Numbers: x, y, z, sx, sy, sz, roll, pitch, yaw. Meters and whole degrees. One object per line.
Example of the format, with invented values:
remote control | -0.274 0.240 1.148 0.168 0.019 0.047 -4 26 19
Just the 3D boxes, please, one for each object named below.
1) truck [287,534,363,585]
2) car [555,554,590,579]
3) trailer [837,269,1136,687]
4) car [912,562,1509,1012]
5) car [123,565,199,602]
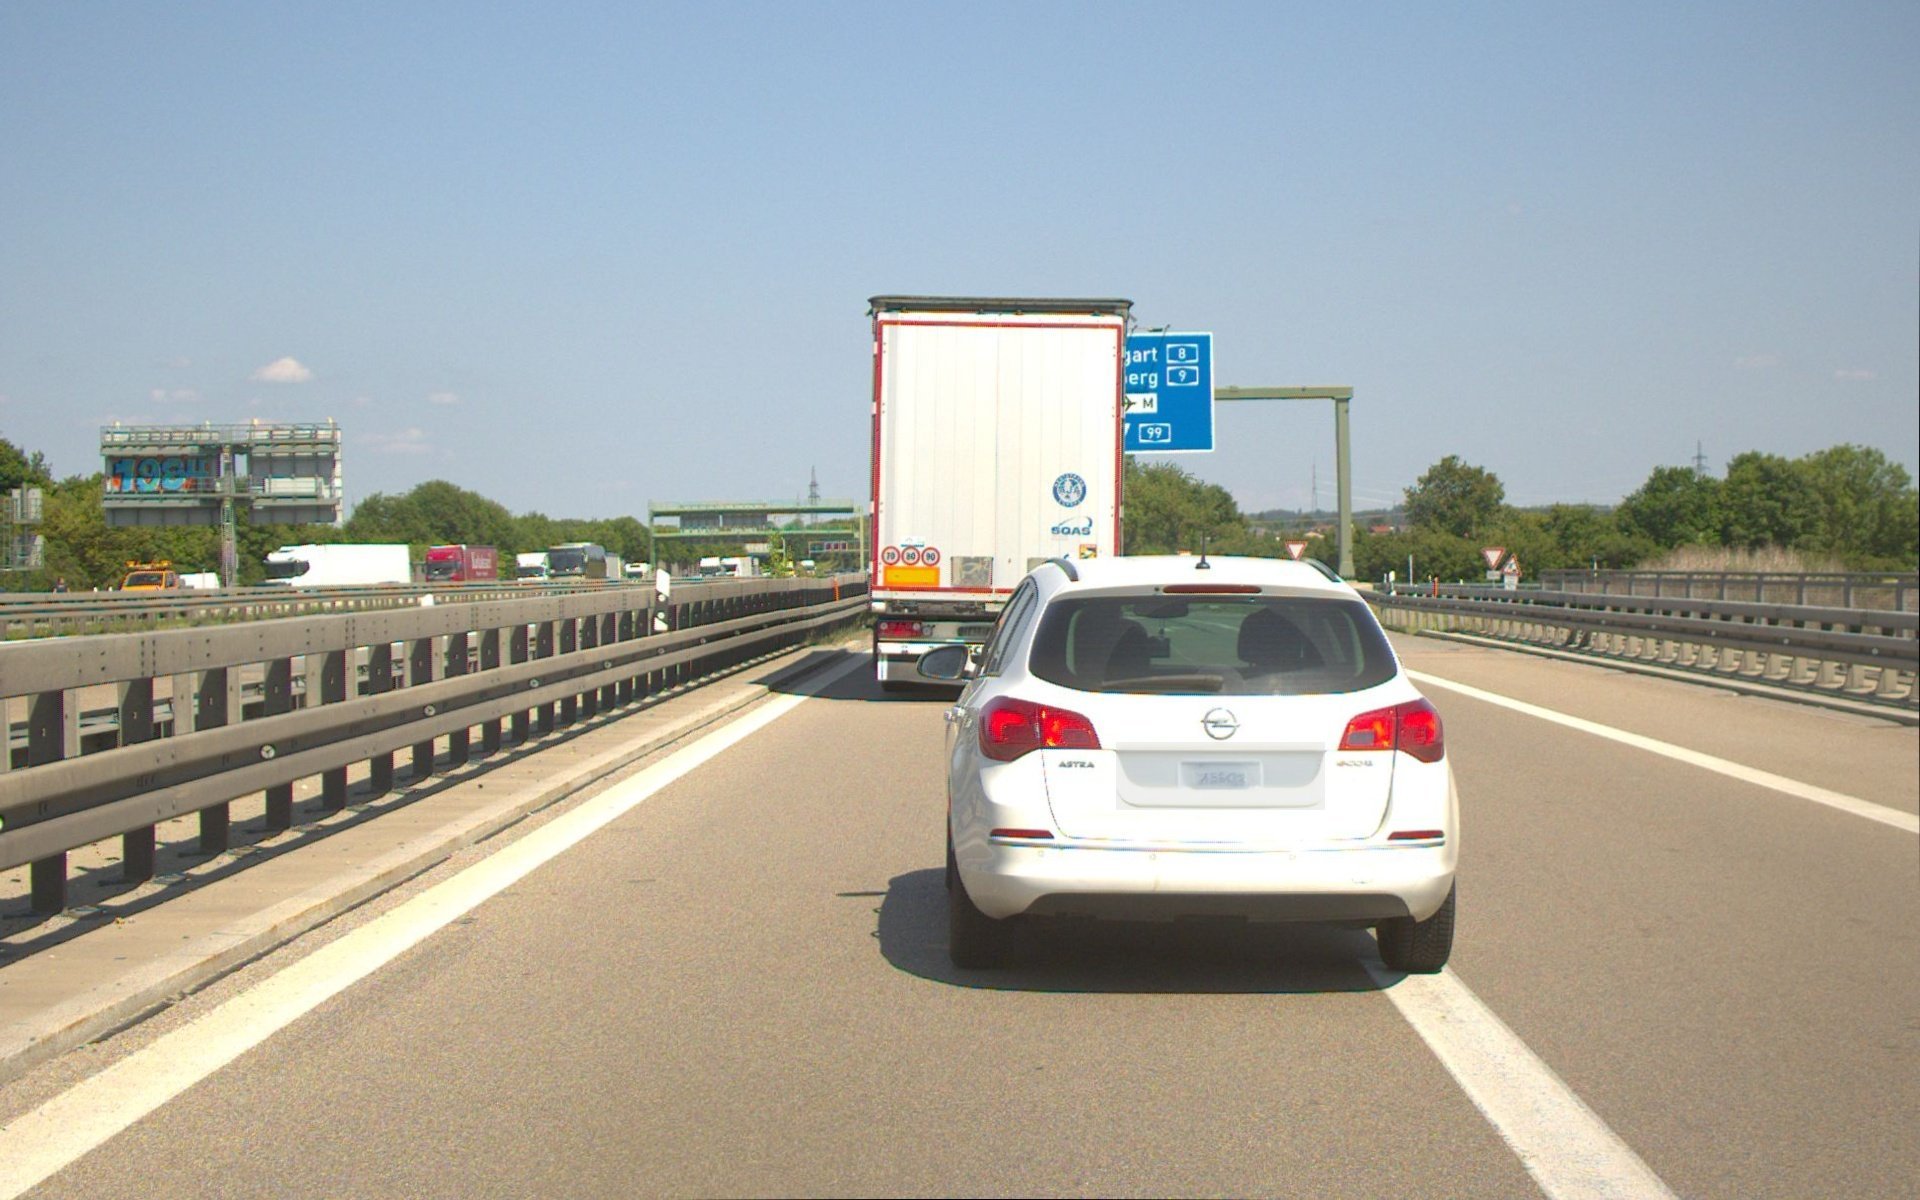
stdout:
truck | -41.343 -2.643 223.899 1.996 3.289 5.379 0 1 27
car | -25.955 -2.236 230.384 1.788 1.634 4.000 0 1 1
trailer | 0.393 -1.225 39.842 2.912 4.131 11.257 1 0 1
car | 0.790 0.590 13.425 1.854 1.438 4.372 1 1 -2
car | -33.267 -0.702 143.265 1.838 1.512 5.297 0 1 1
